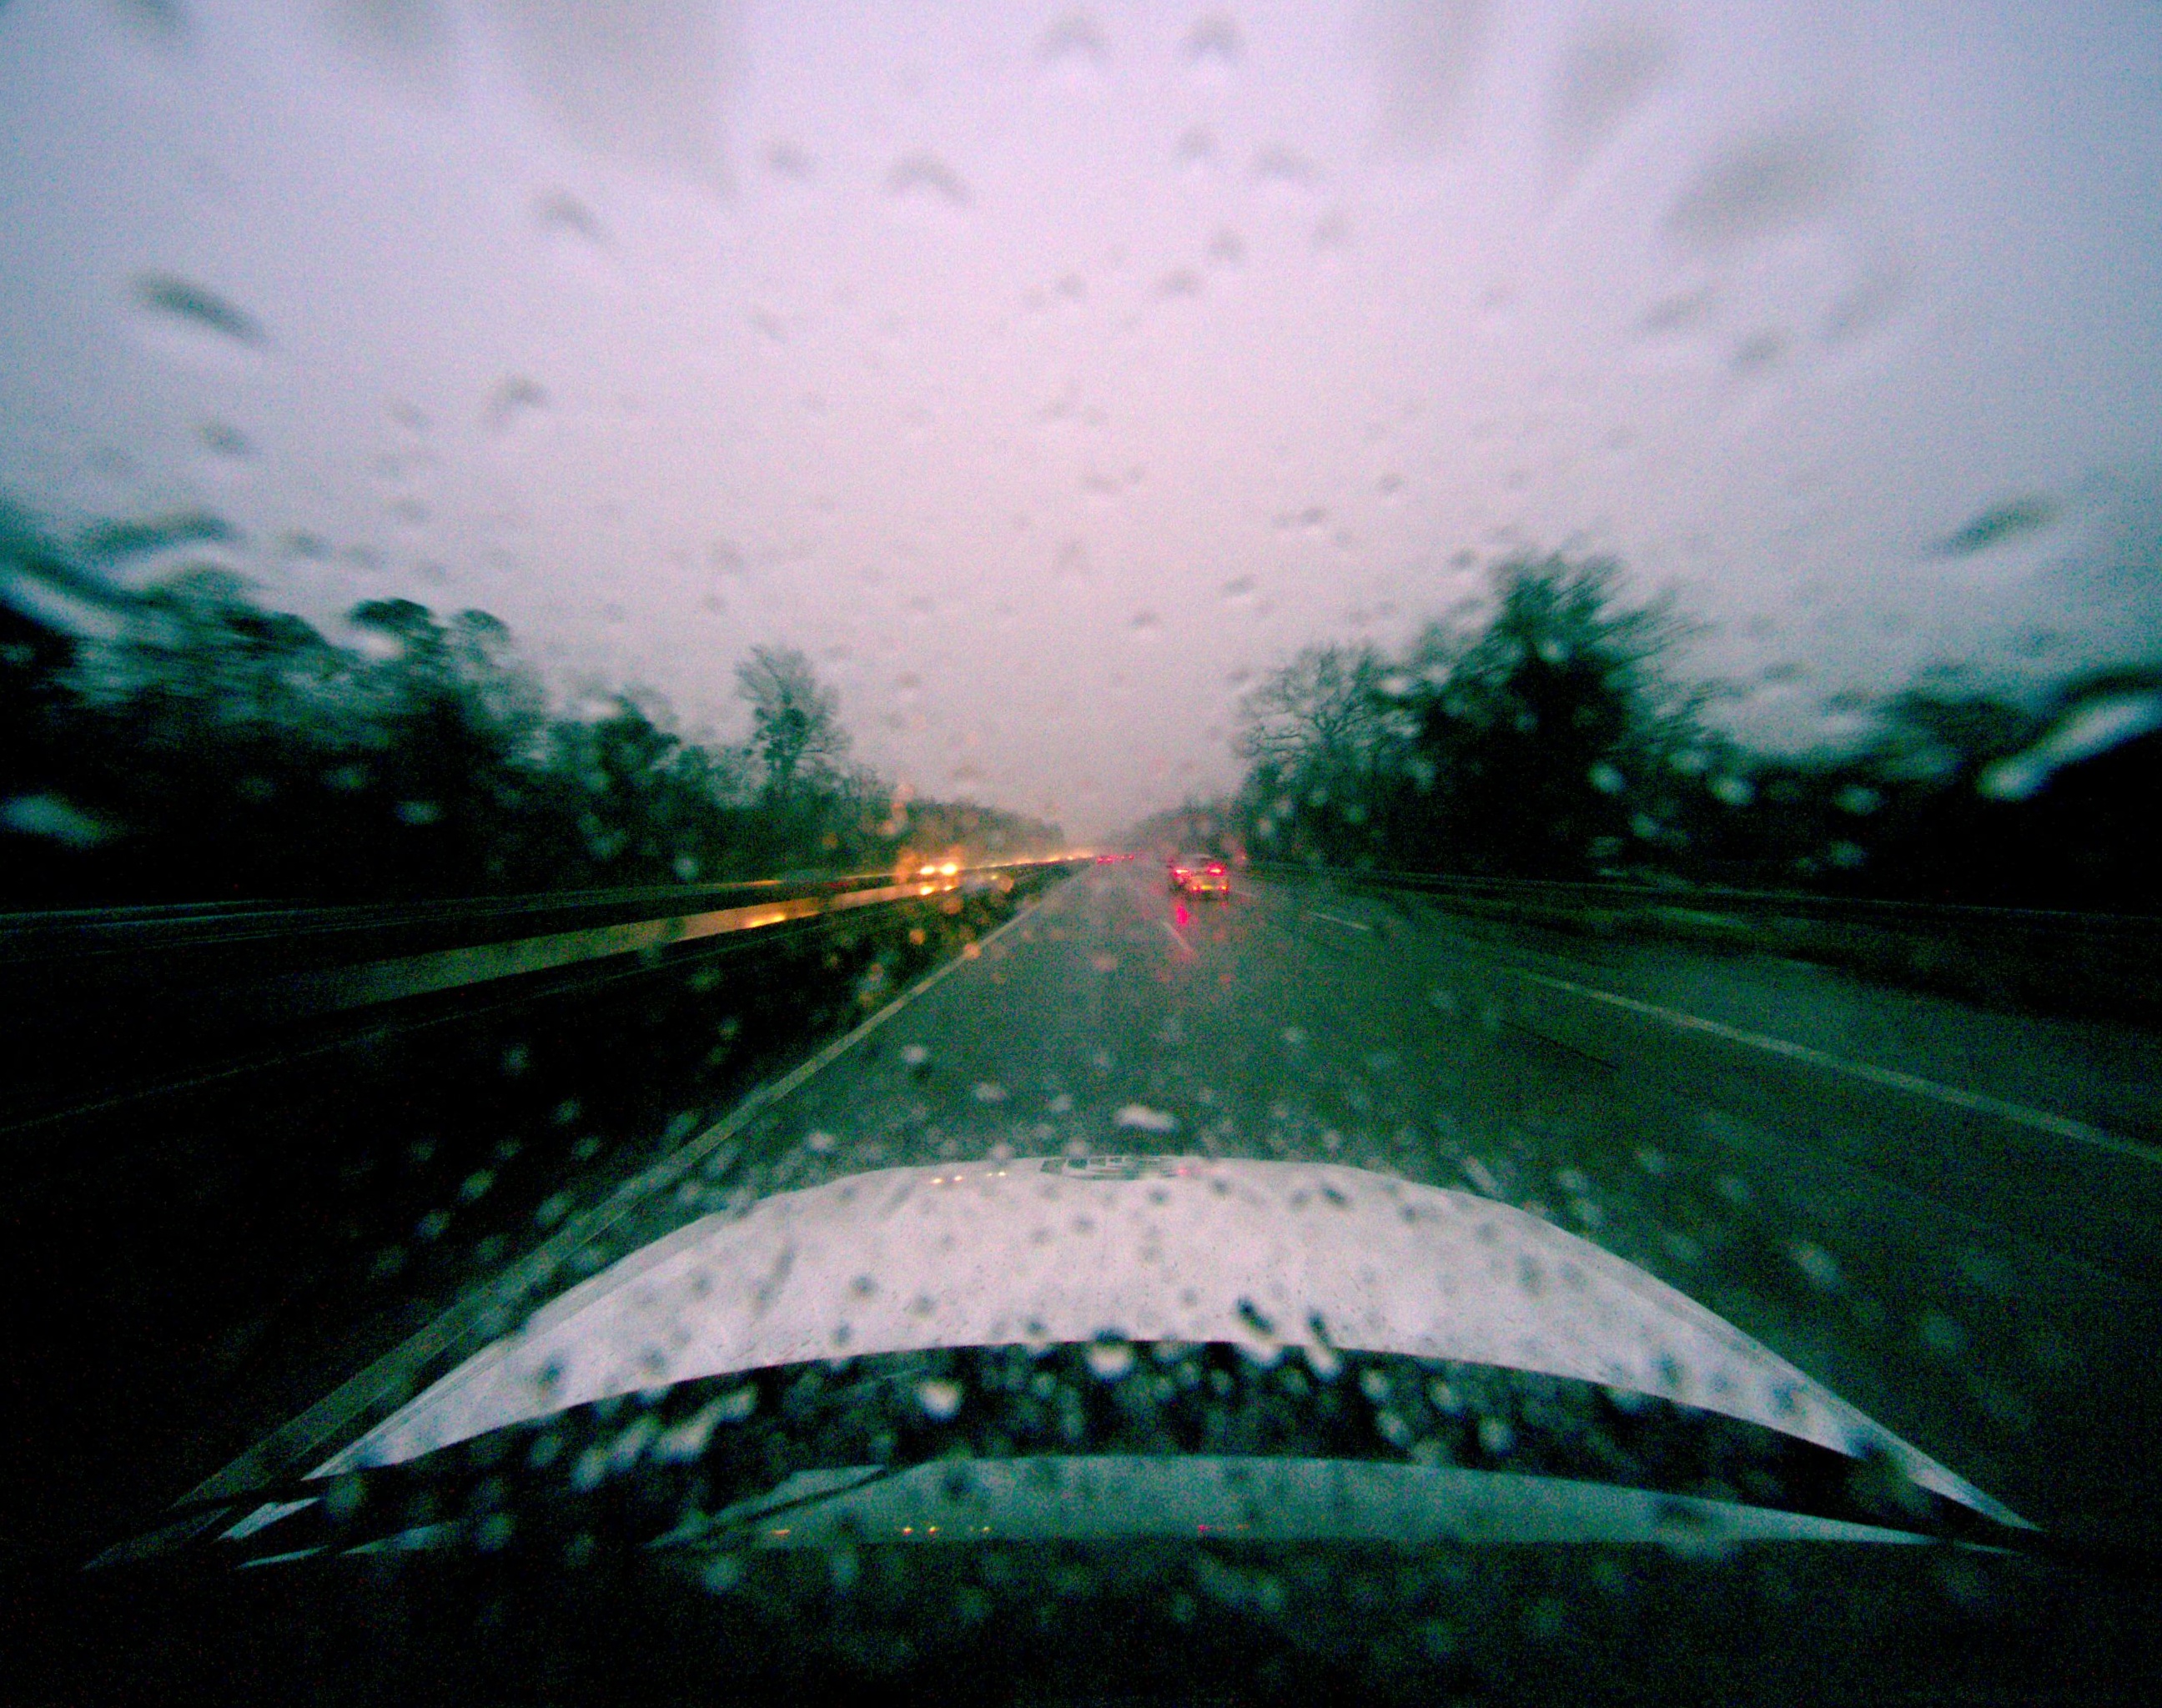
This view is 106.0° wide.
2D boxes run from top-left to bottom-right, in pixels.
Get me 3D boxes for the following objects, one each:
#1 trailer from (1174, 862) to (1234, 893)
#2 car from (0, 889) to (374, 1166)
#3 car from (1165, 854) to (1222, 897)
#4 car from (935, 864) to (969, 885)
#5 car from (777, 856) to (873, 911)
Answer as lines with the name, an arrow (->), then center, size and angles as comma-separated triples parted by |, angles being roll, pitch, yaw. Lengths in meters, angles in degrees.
trailer -> 4.326, 0.813, 29.021 | 1.741, 0.925, 2.952 | -3, 0, 1
car -> -7.136, 1.148, 4.899 | 1.692, 1.506, 4.411 | -7, 0, 1
car -> 4.428, 0.805, 32.402 | 1.780, 1.516, 3.812 | -3, 0, 2
car -> -9.585, 1.498, 60.687 | 1.698, 1.351, 4.158 | -2, 0, 2
car -> -10.368, 1.130, 33.464 | 1.985, 2.014, 5.259 | -2, -1, 3
